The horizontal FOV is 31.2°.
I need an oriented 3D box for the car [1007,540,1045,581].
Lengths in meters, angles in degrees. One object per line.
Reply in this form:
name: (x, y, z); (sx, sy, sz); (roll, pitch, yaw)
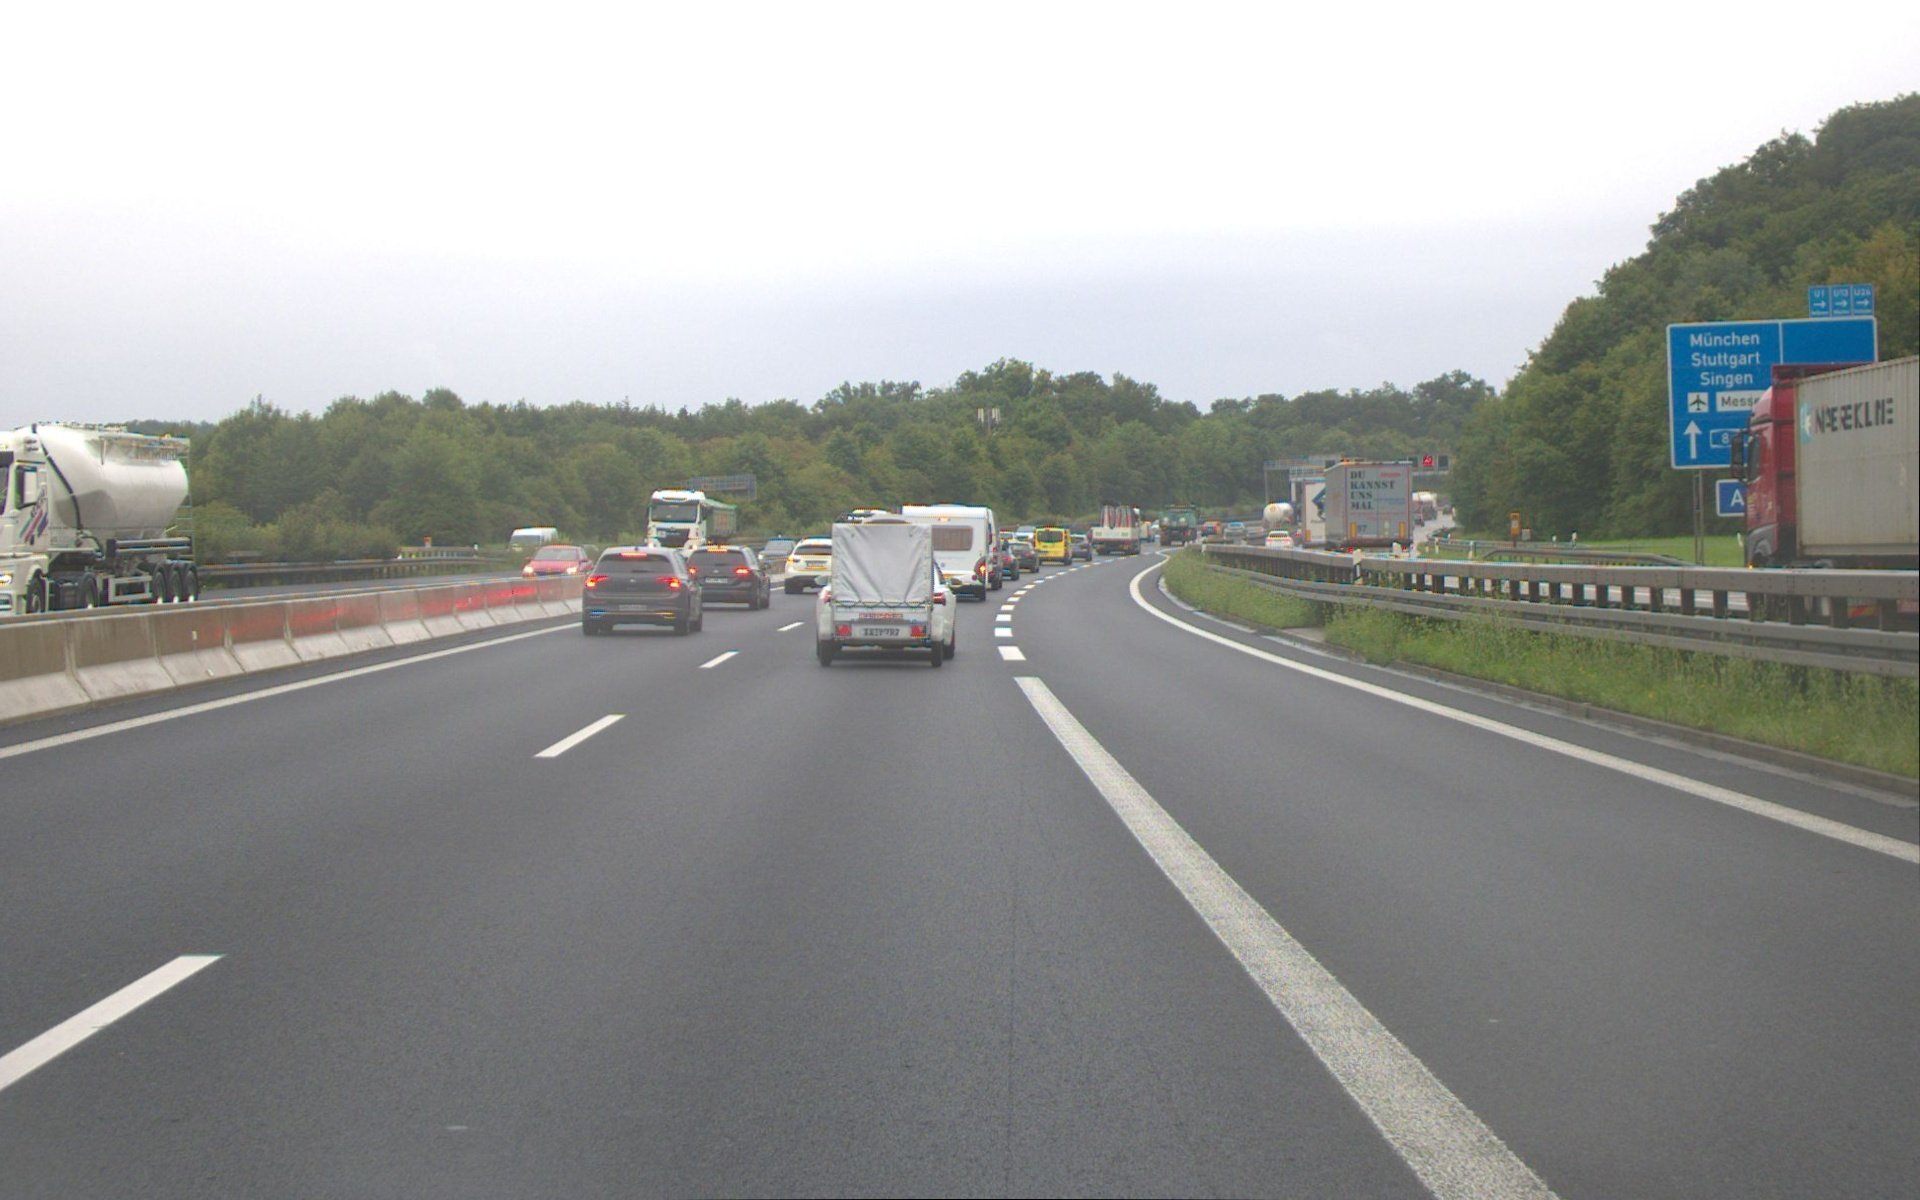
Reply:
car: (2.991, -1.775, 155.310); (1.676, 1.806, 4.000); (0, 1, 1)

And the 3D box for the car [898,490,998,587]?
car: (-0.298, -1.656, 93.983); (2.507, 2.576, 5.699); (0, 1, 2)

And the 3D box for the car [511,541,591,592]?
car: (-12.810, -1.057, 107.872); (1.808, 1.575, 4.355); (0, 1, 3)

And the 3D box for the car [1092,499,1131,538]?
car: (10.234, -5.507, 232.048); (2.516, 2.566, 5.311); (0, 1, 4)

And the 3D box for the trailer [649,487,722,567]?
trailer: (-13.230, -3.492, 166.289); (2.903, 3.736, 8.928); (0, 1, -1)

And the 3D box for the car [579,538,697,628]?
car: (-5.362, -0.295, 57.627); (1.675, 1.451, 4.000); (0, 1, -1)

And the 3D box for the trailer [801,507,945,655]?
trailer: (-1.074, -0.255, 44.094); (1.676, 1.806, 4.000); (0, 1, 1)

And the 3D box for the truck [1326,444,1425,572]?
truck: (15.779, -3.409, 131.416); (3.216, 4.650, 13.031); (0, 1, 4)

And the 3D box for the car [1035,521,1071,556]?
car: (4.965, -3.273, 183.540); (1.676, 1.806, 3.999); (0, 1, 5)

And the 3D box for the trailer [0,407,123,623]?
trailer: (-17.365, -1.498, 62.316); (2.636, 3.703, 6.491); (0, 1, 2)

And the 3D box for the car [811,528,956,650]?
car: (-1.012, -0.171, 47.604); (1.818, 1.610, 4.778); (0, 1, 1)

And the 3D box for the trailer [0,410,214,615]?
trailer: (-17.301, -1.650, 67.945); (2.636, 3.723, 10.811); (0, 1, 1)

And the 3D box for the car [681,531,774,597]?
car: (-5.280, -0.827, 78.539); (1.765, 1.451, 4.000); (0, 1, 1)

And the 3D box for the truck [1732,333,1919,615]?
truck: (13.364, -1.770, 50.361); (2.616, 3.871, 6.392); (0, 1, 0)

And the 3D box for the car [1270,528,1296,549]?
car: (22.255, -4.228, 236.502); (1.676, 1.451, 3.999); (0, 1, 7)

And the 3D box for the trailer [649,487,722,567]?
trailer: (-13.230, -3.492, 166.289); (2.903, 3.736, 8.928); (0, 1, -1)

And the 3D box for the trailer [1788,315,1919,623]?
trailer: (13.392, -1.651, 43.758); (2.604, 3.881, 12.491); (0, 1, 0)

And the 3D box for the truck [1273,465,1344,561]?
truck: (17.356, -4.263, 172.101); (3.216, 4.650, 13.031); (0, 1, 4)

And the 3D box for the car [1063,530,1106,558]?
car: (7.312, -3.288, 202.184); (2.038, 1.677, 3.999); (0, 1, 9)

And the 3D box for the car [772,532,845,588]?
car: (-4.483, -1.205, 102.496); (1.776, 1.634, 4.043); (0, 1, 3)

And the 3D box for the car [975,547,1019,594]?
car: (1.469, -1.170, 134.547); (1.676, 1.806, 4.000); (0, 1, 1)

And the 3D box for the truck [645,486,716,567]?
truck: (-13.174, -3.445, 162.444); (2.887, 3.736, 5.945); (0, 1, -1)
